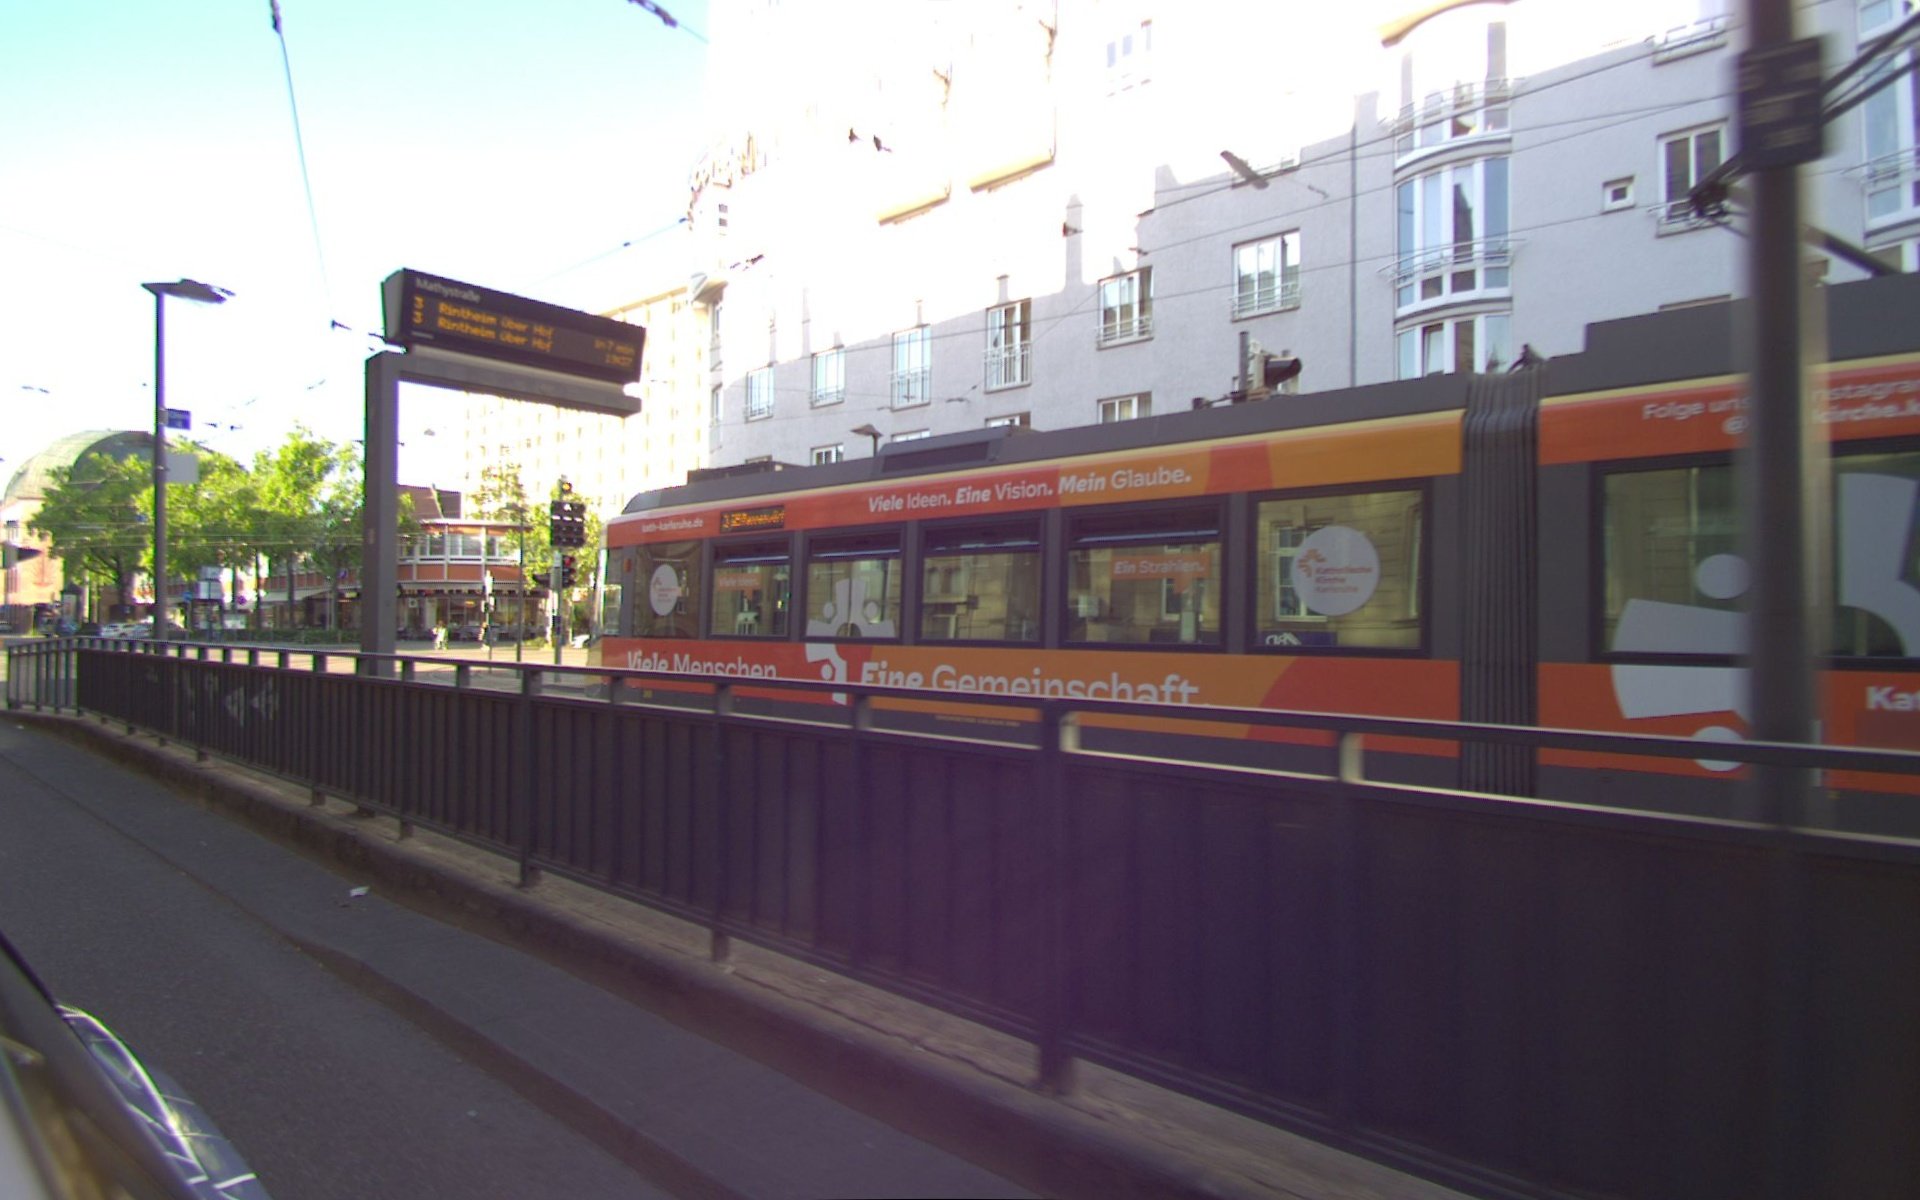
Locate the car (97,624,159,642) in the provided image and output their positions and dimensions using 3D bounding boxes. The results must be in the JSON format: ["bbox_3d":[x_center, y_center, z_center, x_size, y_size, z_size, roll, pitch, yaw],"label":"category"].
[{"bbox_3d":[-72.141,2.828,87.833,1.777,1.486,3.989,0,-1,9],"label":"car"}]

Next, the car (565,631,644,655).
[{"bbox_3d":[-22.447,2.714,63.950,4.381,1.432,1.896,3,-3,-33],"label":"car"}]

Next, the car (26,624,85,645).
[{"bbox_3d":[-87.930,3.354,98.447,1.888,1.979,3.993,0,-1,5],"label":"car"}]

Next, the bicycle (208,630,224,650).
[{"bbox_3d":[-46.916,2.533,63.811,0.574,1.244,1.858,1,-2,-44],"label":"bicycle"}]

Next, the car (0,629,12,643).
[{"bbox_3d":[-116.823,4.338,122.918,3.995,1.615,1.887,-1,-2,39],"label":"car"}]

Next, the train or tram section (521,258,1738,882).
[{"bbox_3d":[-0.217,-0.134,11.428,14.159,3.516,2.855,0,-1,41],"label":"train or tram section"}]

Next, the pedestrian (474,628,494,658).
[{"bbox_3d":[-27.662,2.485,58.826,0.857,1.695,0.697,4,-6,-41],"label":"pedestrian"}]

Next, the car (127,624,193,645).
[{"bbox_3d":[-63.883,2.735,80.901,1.777,1.566,3.989,0,-1,9],"label":"car"}]

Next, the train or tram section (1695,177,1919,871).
[{"bbox_3d":[10.737,-0.413,1.931,14.941,3.516,2.855,0,-1,41],"label":"train or tram section"}]

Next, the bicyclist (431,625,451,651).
[{"bbox_3d":[-30.276,2.234,59.023,0.830,1.478,0.898,3,-4,-40],"label":"bicyclist"}]

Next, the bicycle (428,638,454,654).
[{"bbox_3d":[-30.285,2.689,59.008,0.830,0.934,2.268,3,-4,-40],"label":"bicycle"}]
